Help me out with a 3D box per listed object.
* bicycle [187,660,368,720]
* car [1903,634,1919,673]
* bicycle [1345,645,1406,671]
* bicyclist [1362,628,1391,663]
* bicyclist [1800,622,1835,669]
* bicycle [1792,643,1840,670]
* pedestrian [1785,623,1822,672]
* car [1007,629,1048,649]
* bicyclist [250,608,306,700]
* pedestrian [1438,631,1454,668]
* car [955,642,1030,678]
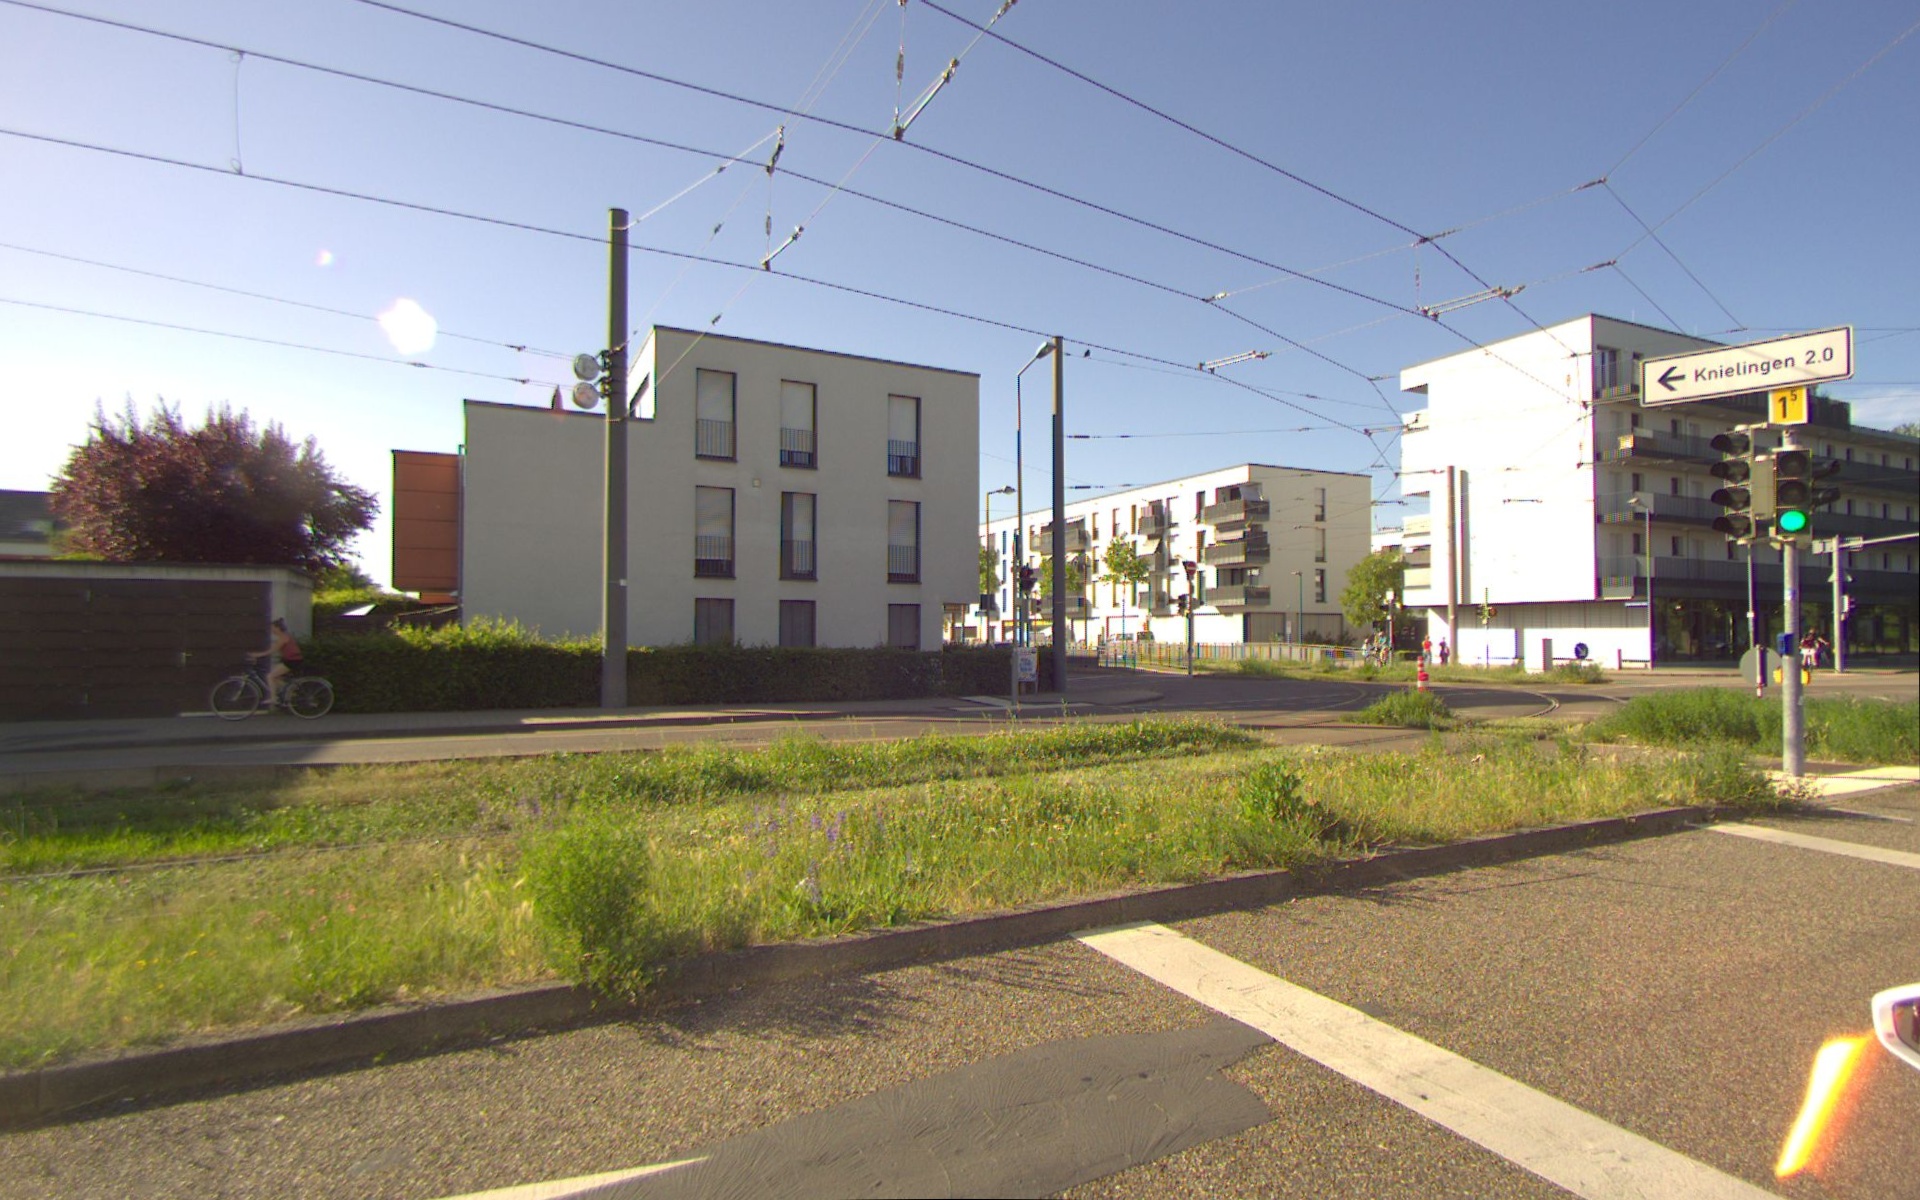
[{"bbox_3d":[-11.483,1.487,16.998,2.459,0.904,0.894,2,-3,-35],"label":"bicycle"},{"bbox_3d":[38.133,2.029,38.068,4.385,1.475,1.693,1,-2,-21],"label":"car"},{"bbox_3d":[19.553,2.722,47.271,2.782,1.214,0.900,1,-2,-19],"label":"bicycle"},{"bbox_3d":[19.629,2.137,47.316,0.899,1.613,0.891,1,-2,-19],"label":"bicyclist"},{"bbox_3d":[37.611,1.978,44.080,0.795,2.040,0.795,0,-2,1],"label":"bicyclist"},{"bbox_3d":[37.614,2.481,44.162,0.730,1.159,1.643,0,-2,1],"label":"bicycle"},{"bbox_3d":[35.875,2.010,42.733,0.751,2.040,0.972,1,-2,-30],"label":"pedestrian"},{"bbox_3d":[6.024,3.452,89.573,1.973,1.574,3.975,1,0,-25],"label":"car"},{"bbox_3d":[-11.532,0.901,16.988,0.738,1.510,0.883,1,-2,-35],"label":"bicyclist"},{"bbox_3d":[22.105,2.239,45.701,0.498,1.644,0.454,1,0,-30],"label":"pedestrian"},{"bbox_3d":[1.556,2.885,49.098,1.984,1.687,3.972,1,-2,-28],"label":"car"}]
